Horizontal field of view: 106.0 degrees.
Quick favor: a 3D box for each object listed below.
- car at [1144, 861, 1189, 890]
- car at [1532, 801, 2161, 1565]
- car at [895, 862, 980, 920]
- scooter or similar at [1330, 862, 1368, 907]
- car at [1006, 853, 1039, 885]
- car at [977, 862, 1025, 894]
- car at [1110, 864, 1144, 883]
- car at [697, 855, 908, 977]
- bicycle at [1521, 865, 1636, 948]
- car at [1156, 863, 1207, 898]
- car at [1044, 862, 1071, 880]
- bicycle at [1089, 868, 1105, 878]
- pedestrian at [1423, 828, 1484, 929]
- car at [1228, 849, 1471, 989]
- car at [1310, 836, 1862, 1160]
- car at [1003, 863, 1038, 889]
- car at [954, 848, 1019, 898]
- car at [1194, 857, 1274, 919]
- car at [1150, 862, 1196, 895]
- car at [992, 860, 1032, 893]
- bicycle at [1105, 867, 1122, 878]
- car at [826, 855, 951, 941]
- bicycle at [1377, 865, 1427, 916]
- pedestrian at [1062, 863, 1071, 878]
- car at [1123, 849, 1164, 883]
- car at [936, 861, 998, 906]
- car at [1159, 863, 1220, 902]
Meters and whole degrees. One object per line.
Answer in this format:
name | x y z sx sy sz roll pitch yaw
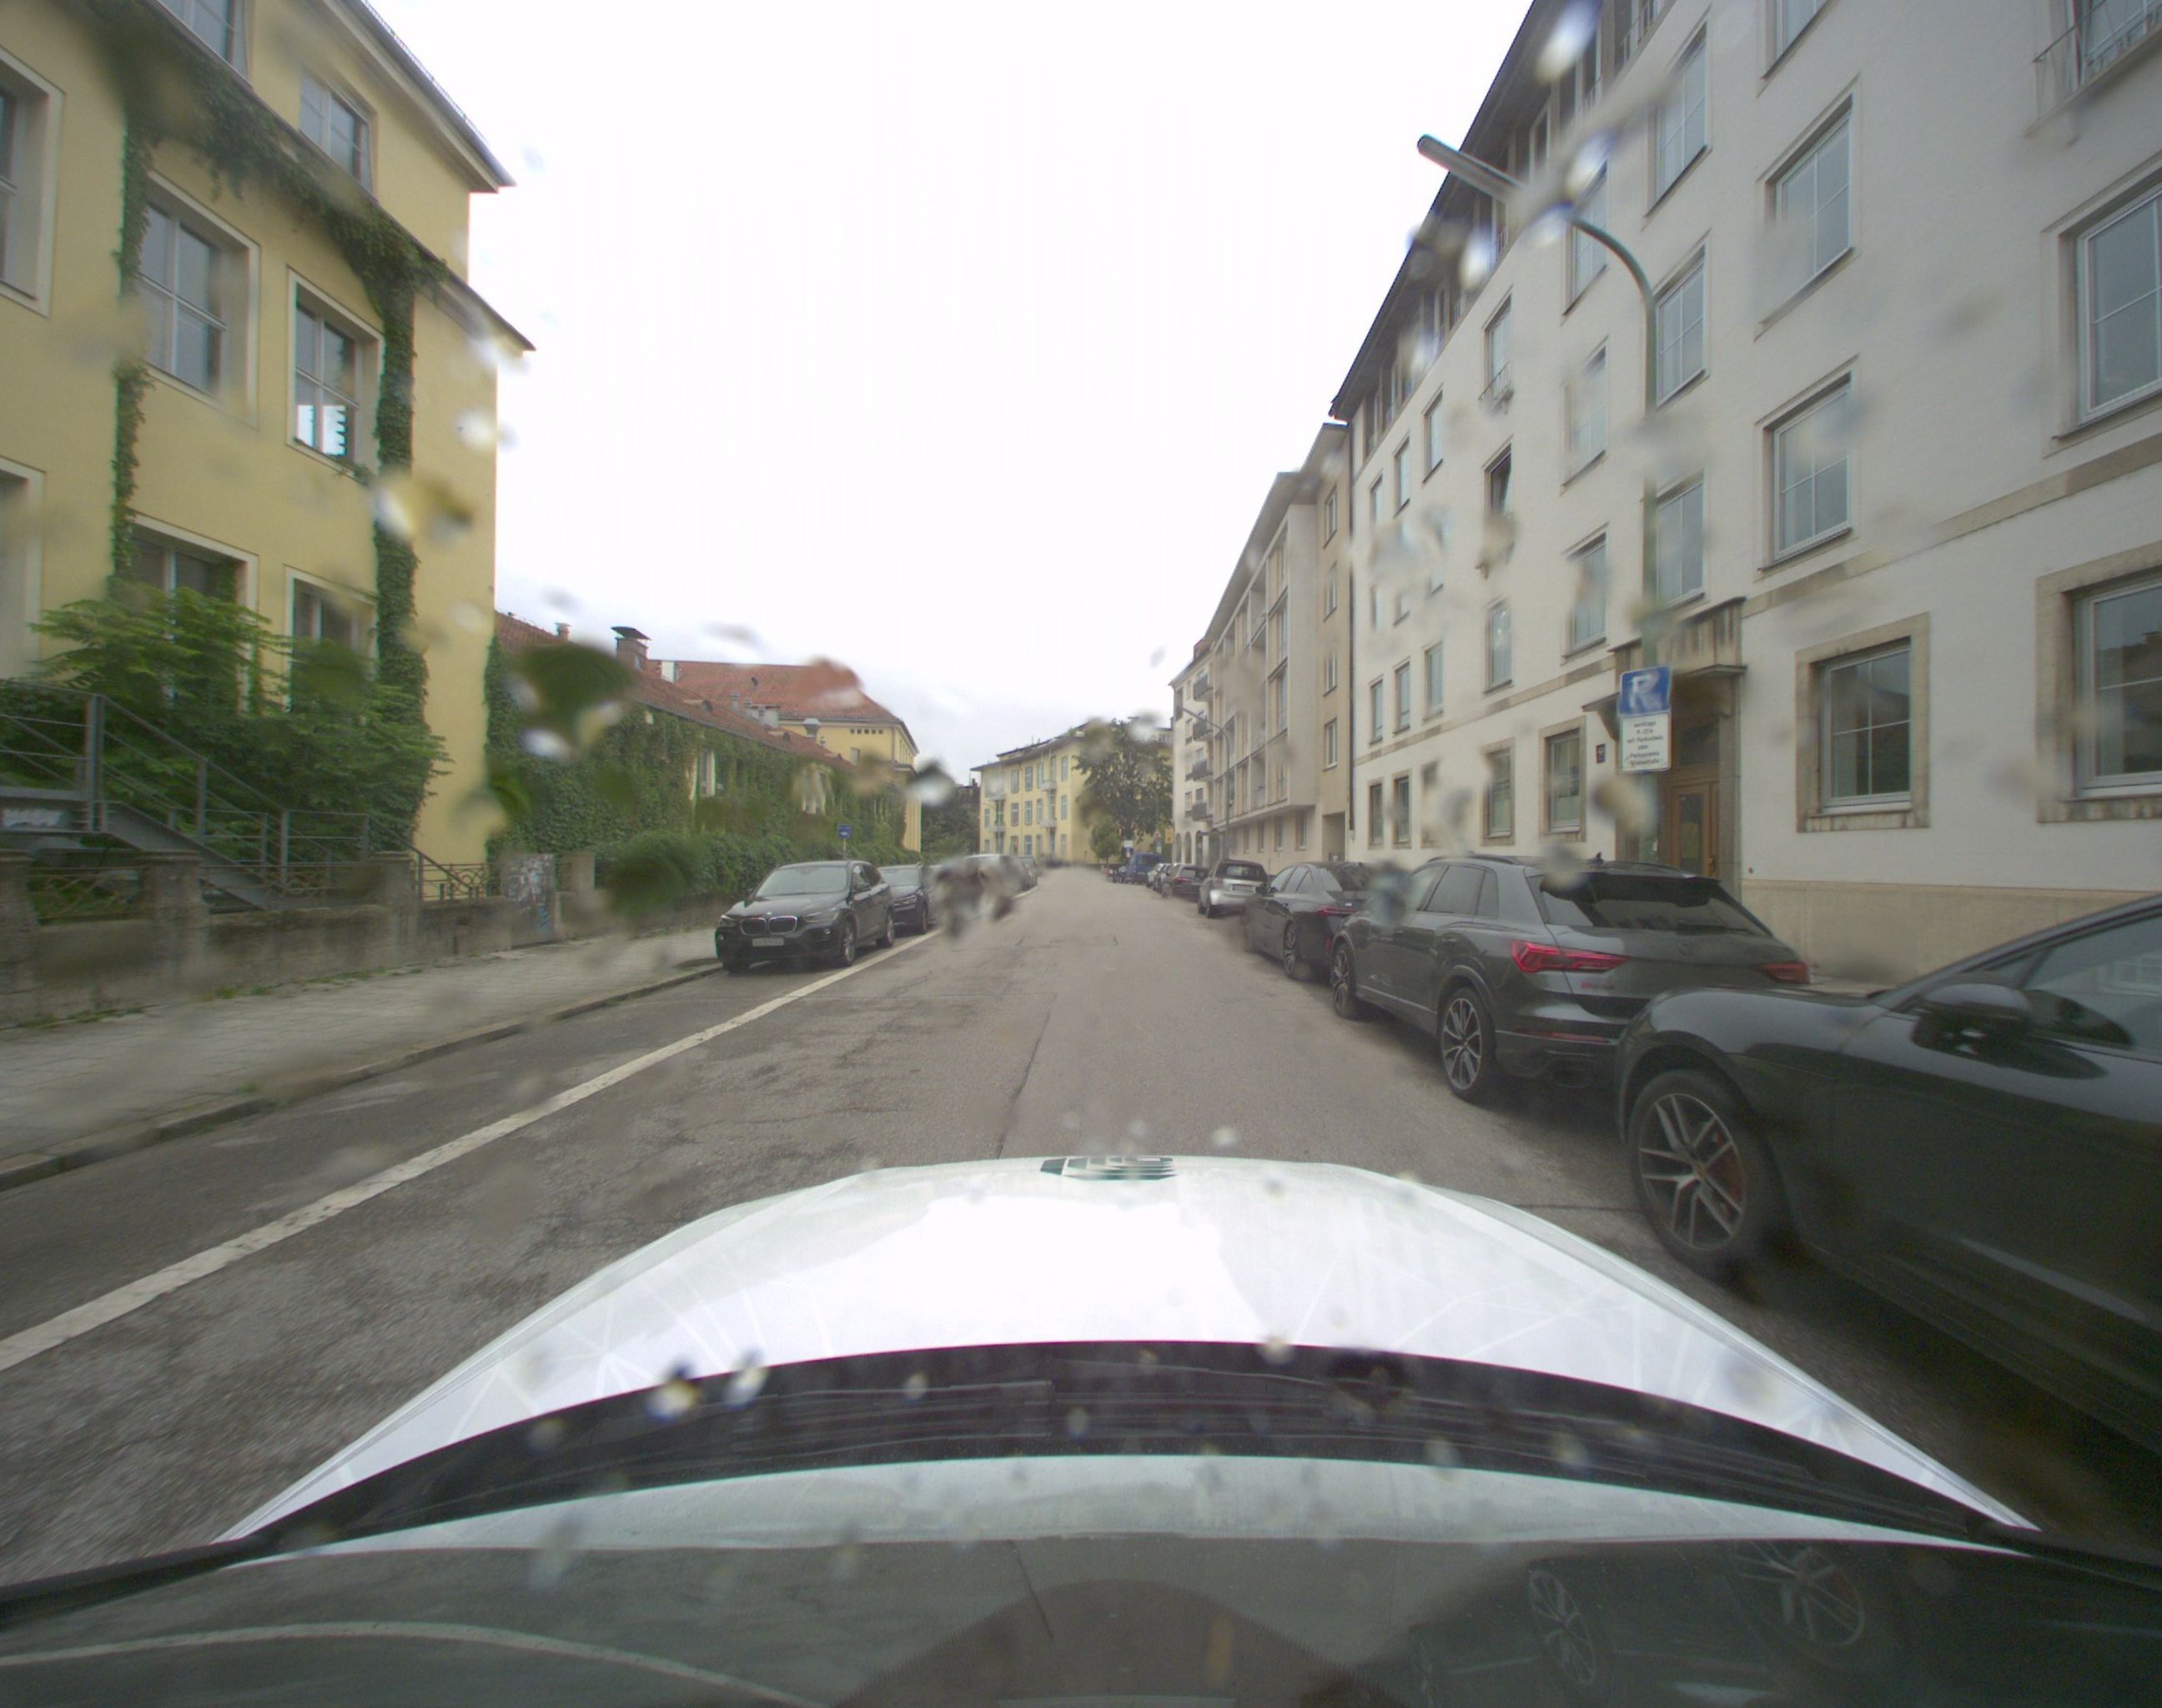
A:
car | 4.984 1.224 48.252 1.782 1.533 4.641 4 -1 -4
car | 3.096 0.683 1.737 1.832 1.522 4.712 2 -1 3
car | -4.015 0.986 23.368 1.598 1.430 4.251 -3 -1 0
scooter or similar | 8.286 0.953 25.237 0.439 1.359 1.584 1 -3 -10
car | -3.930 1.017 54.947 2.069 1.964 5.341 -2 -1 -4
car | -3.838 1.131 39.624 1.647 1.414 4.772 -3 -1 2
car | 3.710 1.561 66.103 1.677 1.389 4.289 5 -2 -11
car | -4.286 0.861 13.439 1.783 1.587 4.816 -2 -1 0
bicycle | 7.980 0.797 13.170 0.512 1.222 1.985 0 0 -5
car | 4.599 1.183 37.889 1.689 1.489 4.578 3 -1 -1
car | -2.794 1.971 96.585 1.768 1.874 4.349 5 -2 -20
bicycle | 1.948 2.242 97.478 1.903 1.201 0.599 0 -1 38
pedestrian | 6.785 0.454 14.871 0.720 1.764 0.905 1 -3 2
car | 3.519 0.763 11.856 1.796 1.484 5.320 3 -1 1
car | 3.275 0.767 6.553 1.639 1.589 4.636 3 -1 2
car | -3.658 1.315 49.688 1.689 1.393 4.500 -4 -1 0
car | -3.859 0.767 34.084 1.879 1.889 4.776 -2 -1 2
car | 4.095 0.878 22.156 1.644 1.495 2.882 3 -1 2
car | 4.791 1.240 42.921 1.873 1.522 5.164 4 0 1
car | -3.695 1.178 44.383 1.692 1.643 4.489 -2 -1 0
bicycle | 3.876 2.177 96.252 1.908 1.201 0.597 1 -1 15
car | -4.146 0.889 18.295 1.719 1.629 4.465 -2 -1 0
bicycle | 8.173 0.903 20.840 0.527 1.218 2.104 1 -1 2
pedestrian | -1.722 1.960 96.782 0.877 1.823 0.793 1 -1 -19
car | 4.533 0.951 59.956 2.075 2.234 5.234 5 -3 -5
car | -3.938 0.987 28.623 1.586 1.441 4.018 -2 -1 0
car | 4.296 1.078 32.931 1.740 1.388 4.952 2 -1 -1
